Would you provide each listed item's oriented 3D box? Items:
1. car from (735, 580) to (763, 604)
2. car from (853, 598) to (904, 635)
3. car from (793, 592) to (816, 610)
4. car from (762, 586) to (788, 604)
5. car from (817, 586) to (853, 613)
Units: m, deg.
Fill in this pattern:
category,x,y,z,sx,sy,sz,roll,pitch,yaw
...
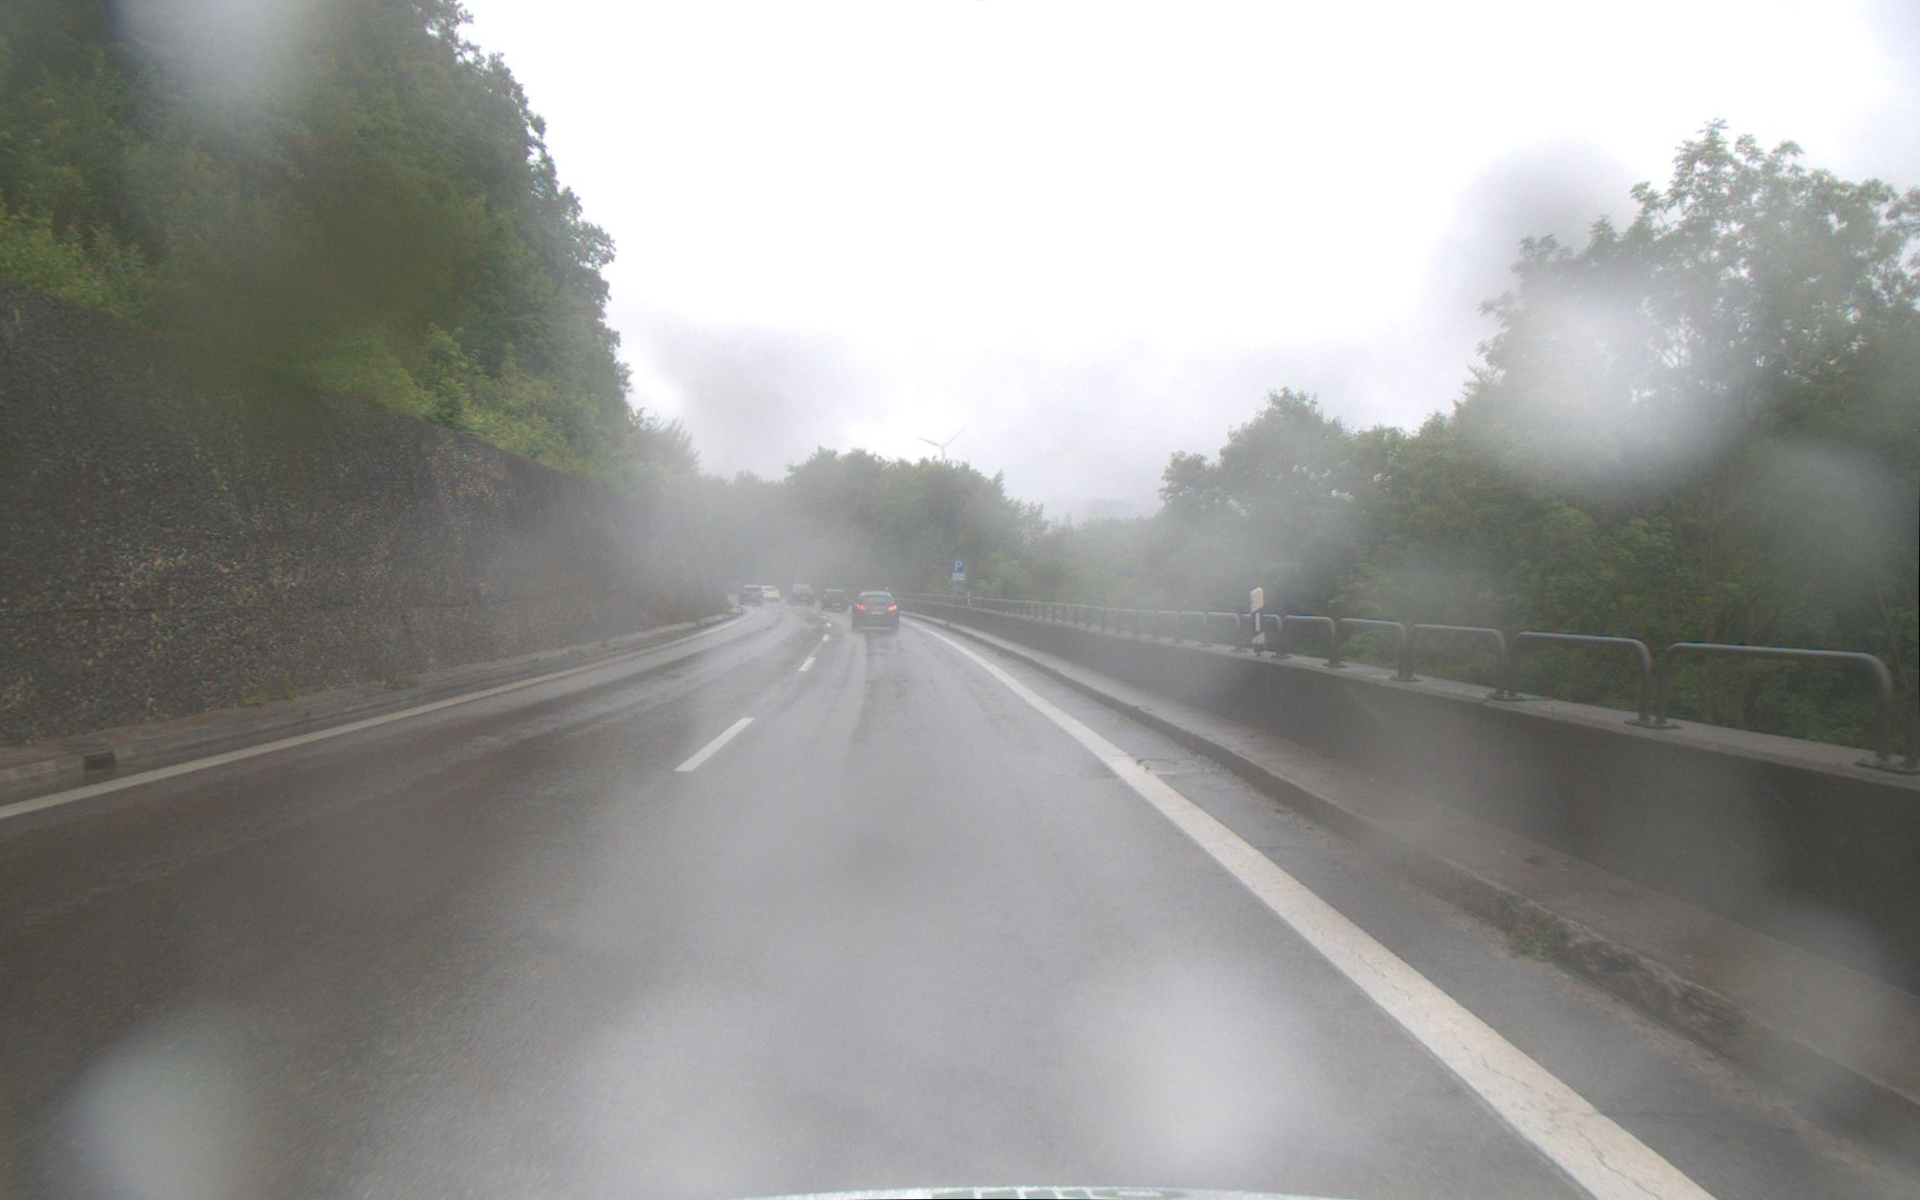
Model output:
category,x,y,z,sx,sy,sz,roll,pitch,yaw
car,-17.689,-0.621,138.363,1.959,1.937,3.988,1,0,-12
car,-3.092,0.607,63.298,1.764,1.330,3.999,1,0,-1
car,-13.032,0.097,138.712,1.766,1.492,3.994,1,0,-7
car,-17.436,-0.483,155.452,1.960,1.691,3.986,0,0,-14
car,-8.551,-0.041,112.813,1.958,1.780,3.990,1,0,-11
